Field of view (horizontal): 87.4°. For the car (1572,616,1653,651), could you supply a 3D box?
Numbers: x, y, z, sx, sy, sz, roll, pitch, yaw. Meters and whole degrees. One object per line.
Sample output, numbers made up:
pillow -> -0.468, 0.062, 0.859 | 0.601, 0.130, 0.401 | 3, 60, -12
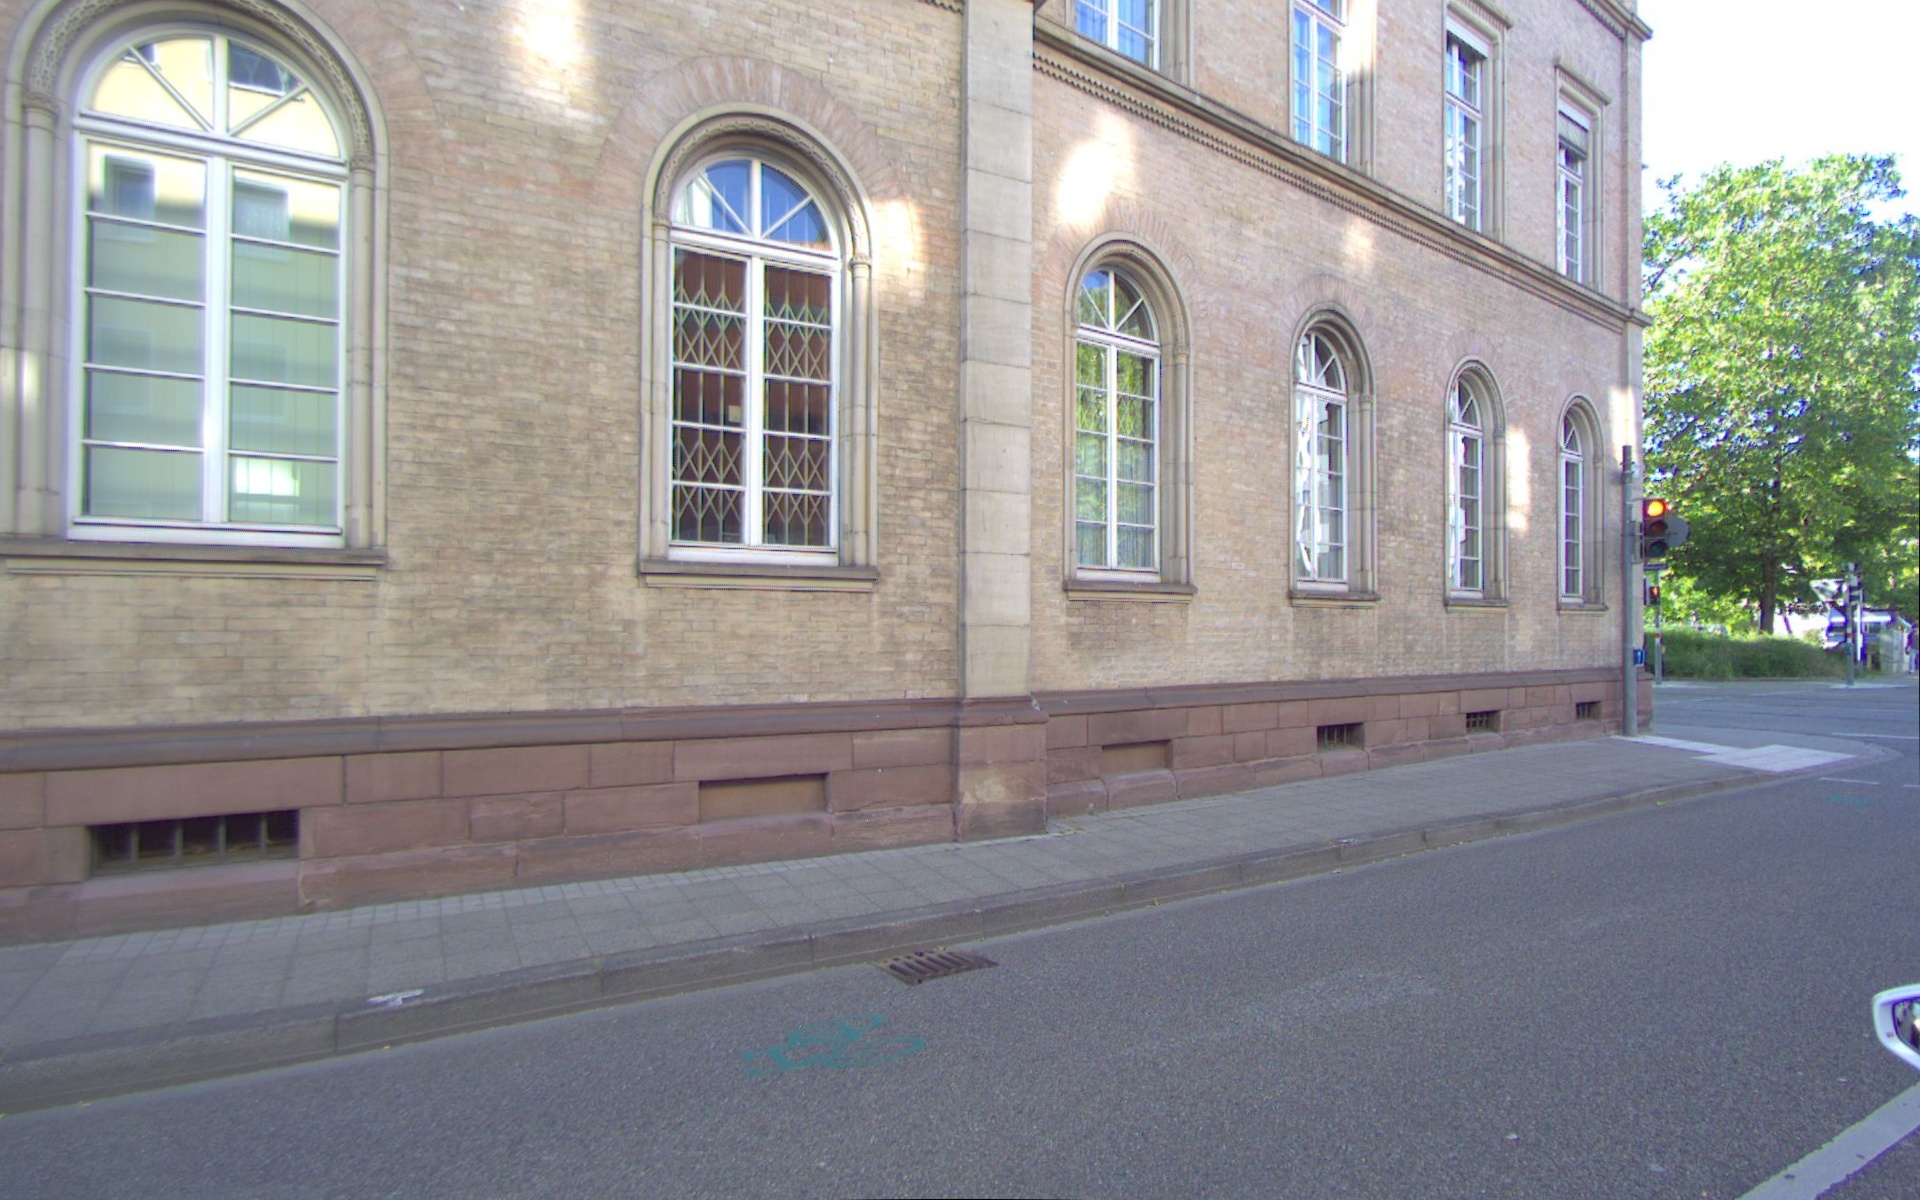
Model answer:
car -> 47.823, 2.488, 73.716 | 2.056, 2.423, 4.521 | 2, -3, -38

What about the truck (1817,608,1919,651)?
truck -> 53.749, 1.678, 59.063 | 2.069, 2.431, 4.790 | 1, -1, -39

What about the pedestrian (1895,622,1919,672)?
pedestrian -> 33.441, 1.656, 35.289 | 0.947, 1.745, 0.697 | 2, -3, -40
